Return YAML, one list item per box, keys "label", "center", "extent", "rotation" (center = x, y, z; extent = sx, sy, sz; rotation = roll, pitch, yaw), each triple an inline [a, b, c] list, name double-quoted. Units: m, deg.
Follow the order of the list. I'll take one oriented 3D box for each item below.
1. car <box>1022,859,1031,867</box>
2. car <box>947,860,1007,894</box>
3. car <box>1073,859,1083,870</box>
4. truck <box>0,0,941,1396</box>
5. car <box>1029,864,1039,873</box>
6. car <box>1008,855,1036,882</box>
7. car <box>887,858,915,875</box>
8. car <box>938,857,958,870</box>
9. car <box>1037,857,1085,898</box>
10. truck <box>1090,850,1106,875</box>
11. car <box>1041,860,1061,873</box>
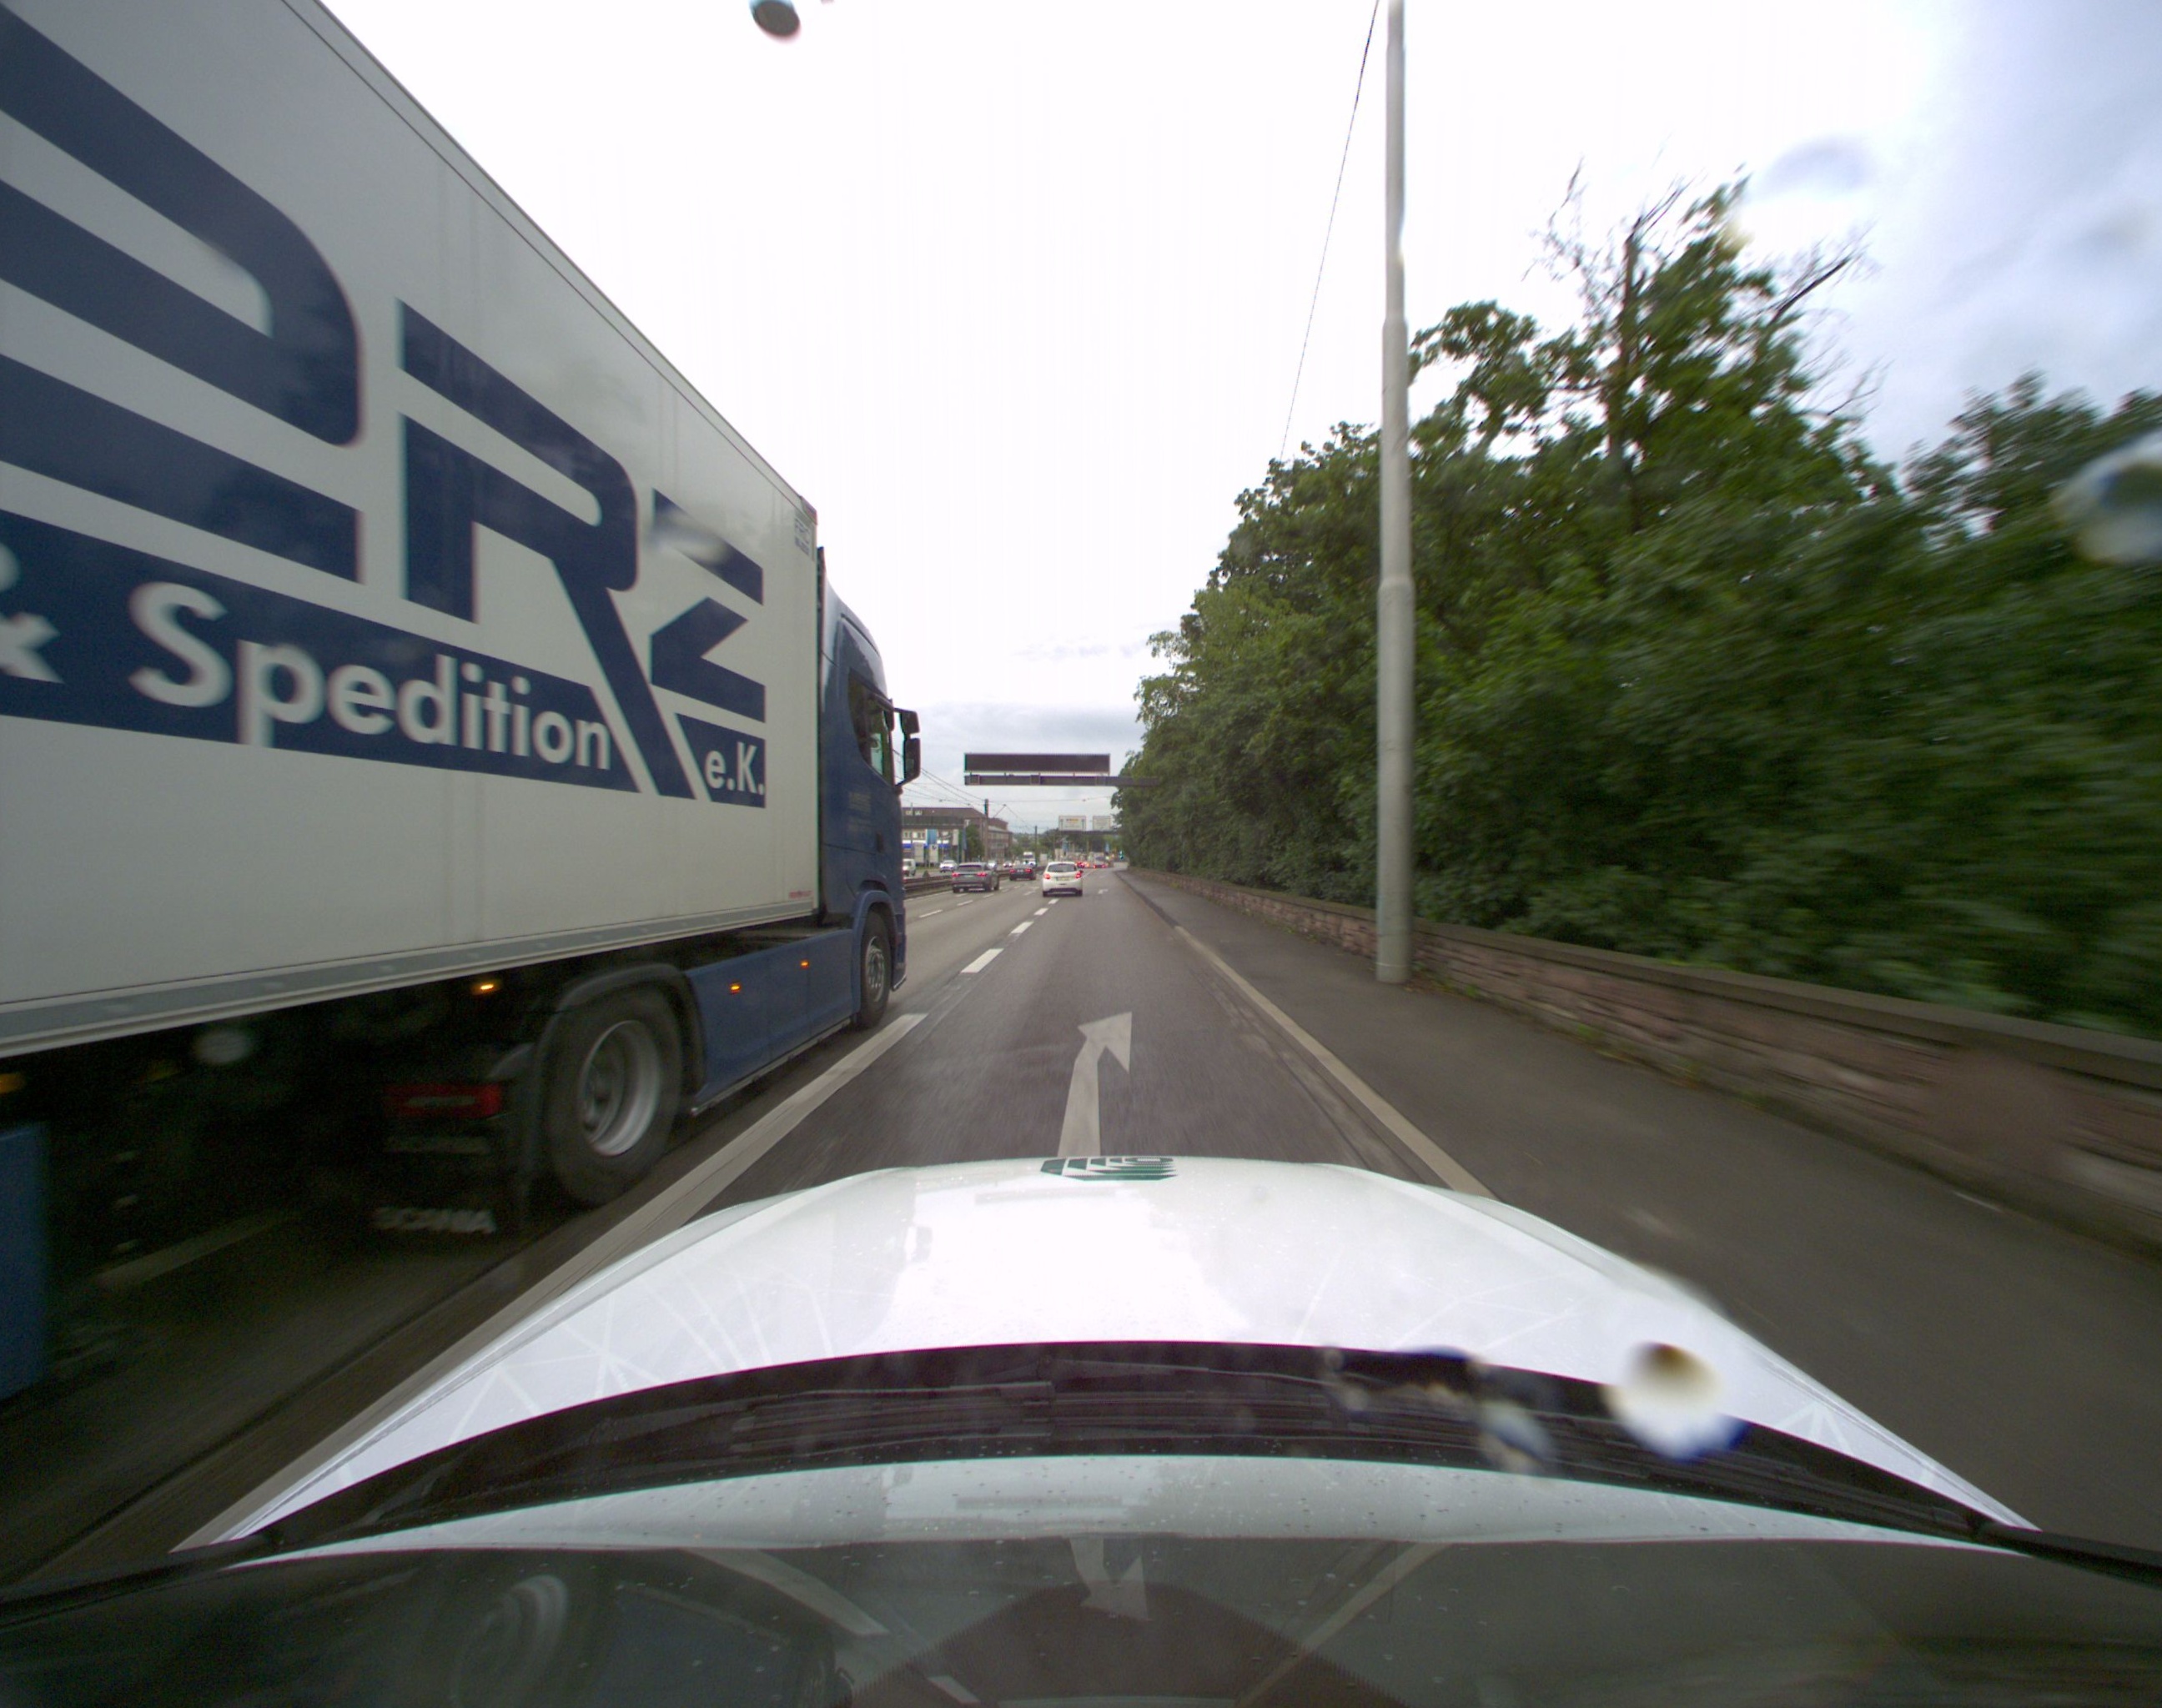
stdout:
- label: "car"
  center: [-15.292, 2.591, 229.371]
  extent: [1.986, 2.014, 4.000]
  rotation: [1, -4, 1]
- label: "car"
  center: [-5.200, 1.139, 41.218]
  extent: [1.810, 1.565, 4.102]
  rotation: [-2, -1, 9]
- label: "car"
  center: [-0.626, 2.198, 165.711]
  extent: [1.986, 2.014, 4.000]
  rotation: [1, -4, 1]
- label: "truck"
  center: [-3.178, -0.537, 5.752]
  extent: [2.750, 4.197, 6.790]
  rotation: [-1, 0, 3]
- label: "car"
  center: [-11.714, 3.602, 202.842]
  extent: [1.986, 2.014, 4.000]
  rotation: [1, -4, 1]
- label: "car"
  center: [-4.582, 1.086, 63.674]
  extent: [1.714, 1.891, 3.540]
  rotation: [0, 3, 4]
- label: "car"
  center: [-18.756, 1.315, 85.026]
  extent: [1.986, 1.662, 4.001]
  rotation: [1, -1, 1]
- label: "car"
  center: [-17.917, 1.250, 110.000]
  extent: [1.986, 1.662, 4.001]
  rotation: [1, -1, 1]
- label: "car"
  center: [-0.831, 0.974, 35.425]
  extent: [1.949, 1.487, 3.999]
  rotation: [1, 2, -1]
- label: "truck"
  center: [4.309, 2.157, 200.898]
  extent: [3.449, 5.402, 12.059]
  rotation: [1, -4, 4]
- label: "car"
  center: [-3.795, 1.573, 104.299]
  extent: [1.984, 1.576, 4.006]
  rotation: [-1, -1, 5]
